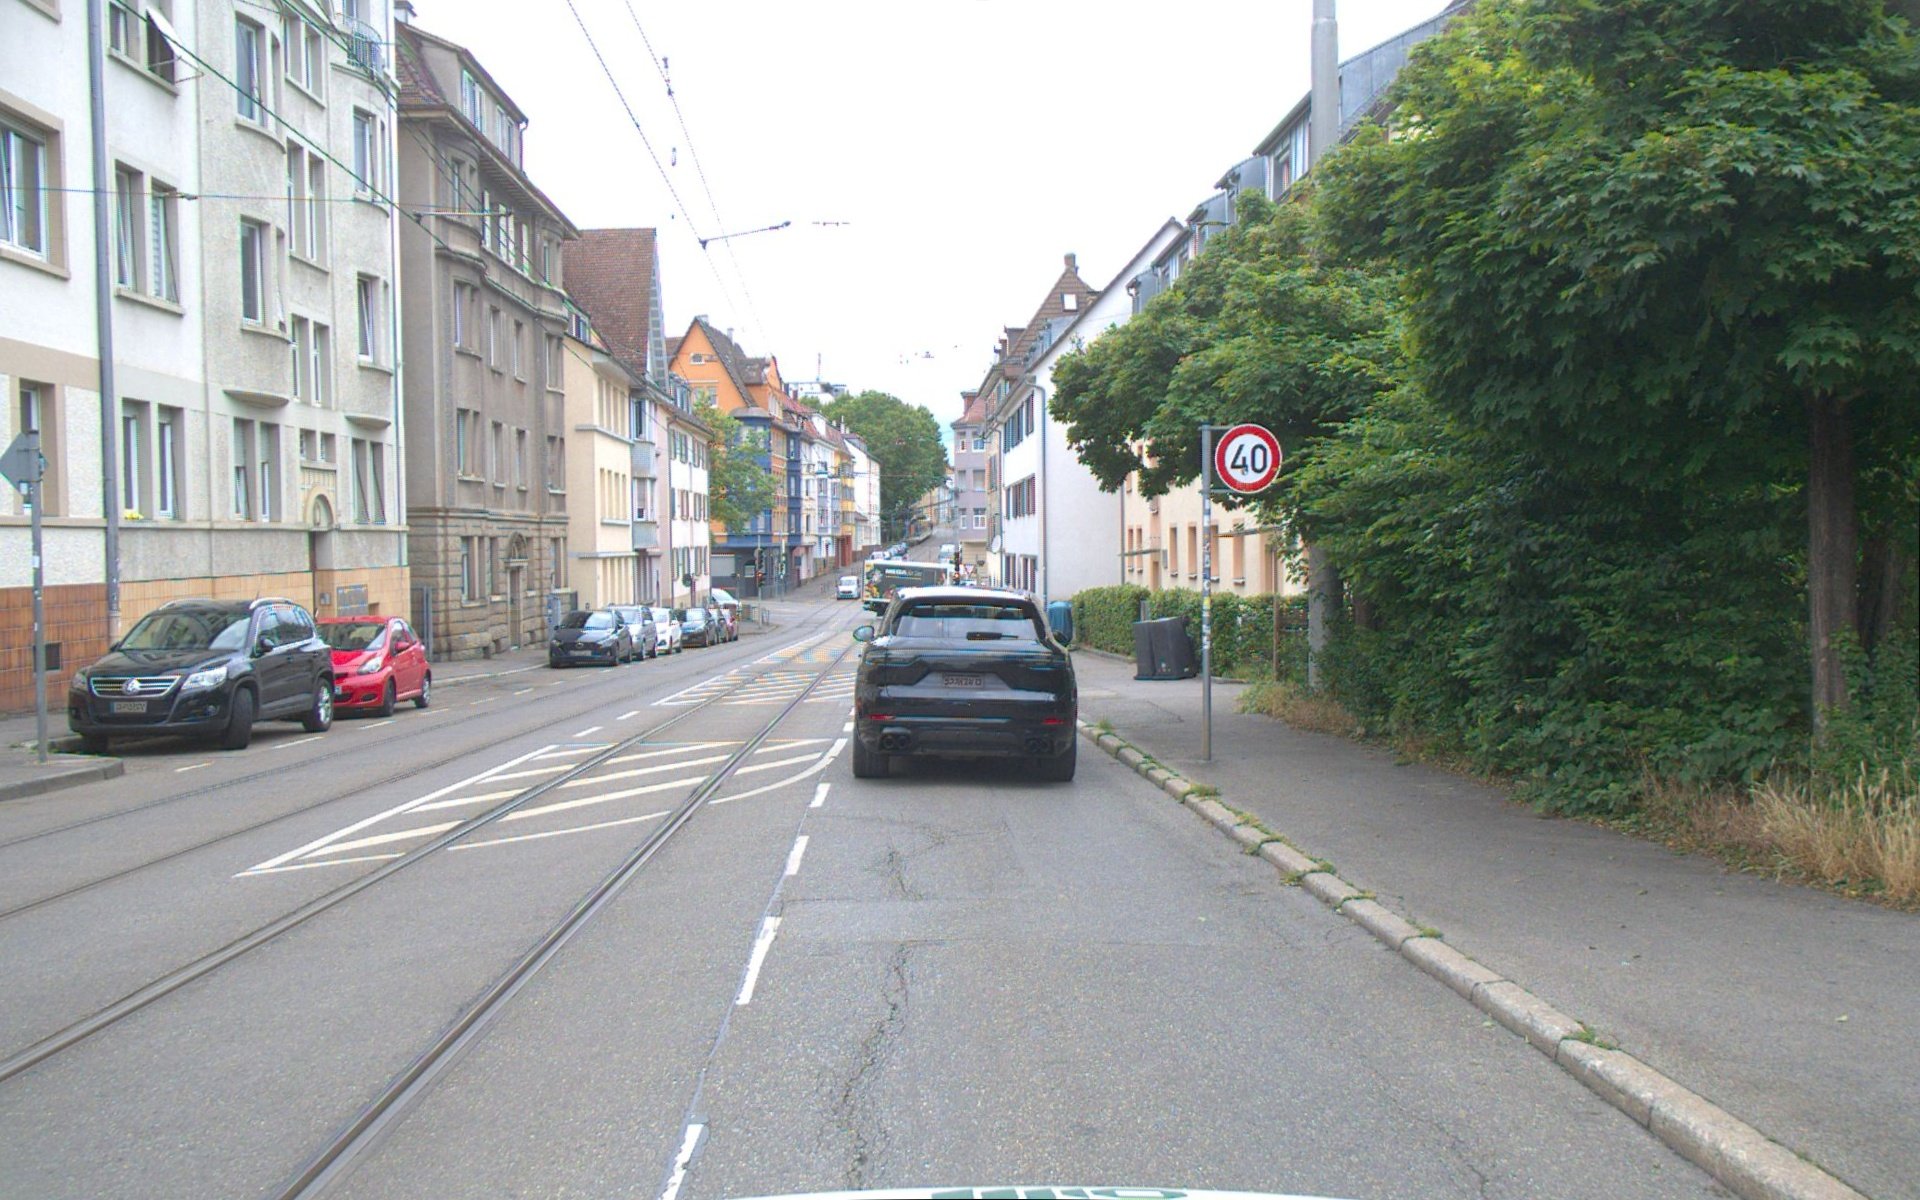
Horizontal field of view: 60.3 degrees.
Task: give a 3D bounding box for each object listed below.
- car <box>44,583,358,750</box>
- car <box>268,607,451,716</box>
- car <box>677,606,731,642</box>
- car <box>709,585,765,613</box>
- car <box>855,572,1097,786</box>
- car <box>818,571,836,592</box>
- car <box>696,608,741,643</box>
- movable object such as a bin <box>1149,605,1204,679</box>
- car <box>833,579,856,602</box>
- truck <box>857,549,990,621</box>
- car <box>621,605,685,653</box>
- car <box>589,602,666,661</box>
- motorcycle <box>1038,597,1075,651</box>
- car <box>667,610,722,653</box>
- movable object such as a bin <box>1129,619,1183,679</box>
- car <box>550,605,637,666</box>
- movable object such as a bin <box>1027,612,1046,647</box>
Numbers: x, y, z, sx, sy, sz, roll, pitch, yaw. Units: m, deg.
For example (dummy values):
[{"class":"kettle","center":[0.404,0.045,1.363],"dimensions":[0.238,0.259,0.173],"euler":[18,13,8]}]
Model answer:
[{"class":"car","center":[-8.687,0.733,19.393],"dimensions":[1.830,1.675,4.399],"euler":[-2,-1,-3]},{"class":"car","center":[-9.069,0.906,25.281],"dimensions":[1.588,1.489,3.743],"euler":[-2,-1,-3]},{"class":"car","center":[-10.597,0.994,68.667],"dimensions":[1.701,1.435,3.998],"euler":[-1,-1,-2]},{"class":"car","center":[-15.091,-0.068,111.954],"dimensions":[1.908,1.850,4.159],"euler":[0,-1,-38]},{"class":"car","center":[0.056,0.657,15.459],"dimensions":[1.953,1.705,3.998],"euler":[-1,-1,-2]},{"class":"car","center":[-11.873,-1.658,147.998],"dimensions":[1.366,1.752,3.357],"euler":[-1,-1,-1]},{"class":"car","center":[-10.866,1.163,74.619],"dimensions":[1.588,1.516,4.044],"euler":[-2,-1,-3]},{"class":"movable object such as a bin","center":[3.696,0.708,28.279],"dimensions":[0.776,1.239,0.788],"euler":[-1,-1,-6]},{"class":"car","center":[-9.718,-0.793,139.118],"dimensions":[1.715,1.790,4.252],"euler":[-1,-1,-1]},{"class":"truck","center":[-2.372,-0.872,104.889],"dimensions":[8.400,4.255,2.256],"euler":[-2,-3,28]},{"class":"car","center":[-10.074,0.963,54.516],"dimensions":[1.588,1.489,3.682],"euler":[-2,-1,-3]},{"class":"car","center":[-9.717,0.927,48.605],"dimensions":[1.588,1.632,4.347],"euler":[-2,-1,-3]},{"class":"motorcycle","center":[2.741,0.677,47.159],"dimensions":[0.821,1.482,2.552],"euler":[-1,-1,-1]},{"class":"car","center":[-10.041,1.197,62.763],"dimensions":[1.588,1.499,4.552],"euler":[-2,-1,-3]},{"class":"movable object such as a bin","center":[3.435,0.851,29.057],"dimensions":[0.776,1.030,0.788],"euler":[-1,-1,-6]},{"class":"car","center":[-9.653,0.937,43.772],"dimensions":[1.588,1.489,4.030],"euler":[-2,-1,-3]},{"class":"movable object such as a bin","center":[2.499,0.961,53.886],"dimensions":[0.576,1.099,0.691],"euler":[-1,-1,0]}]
